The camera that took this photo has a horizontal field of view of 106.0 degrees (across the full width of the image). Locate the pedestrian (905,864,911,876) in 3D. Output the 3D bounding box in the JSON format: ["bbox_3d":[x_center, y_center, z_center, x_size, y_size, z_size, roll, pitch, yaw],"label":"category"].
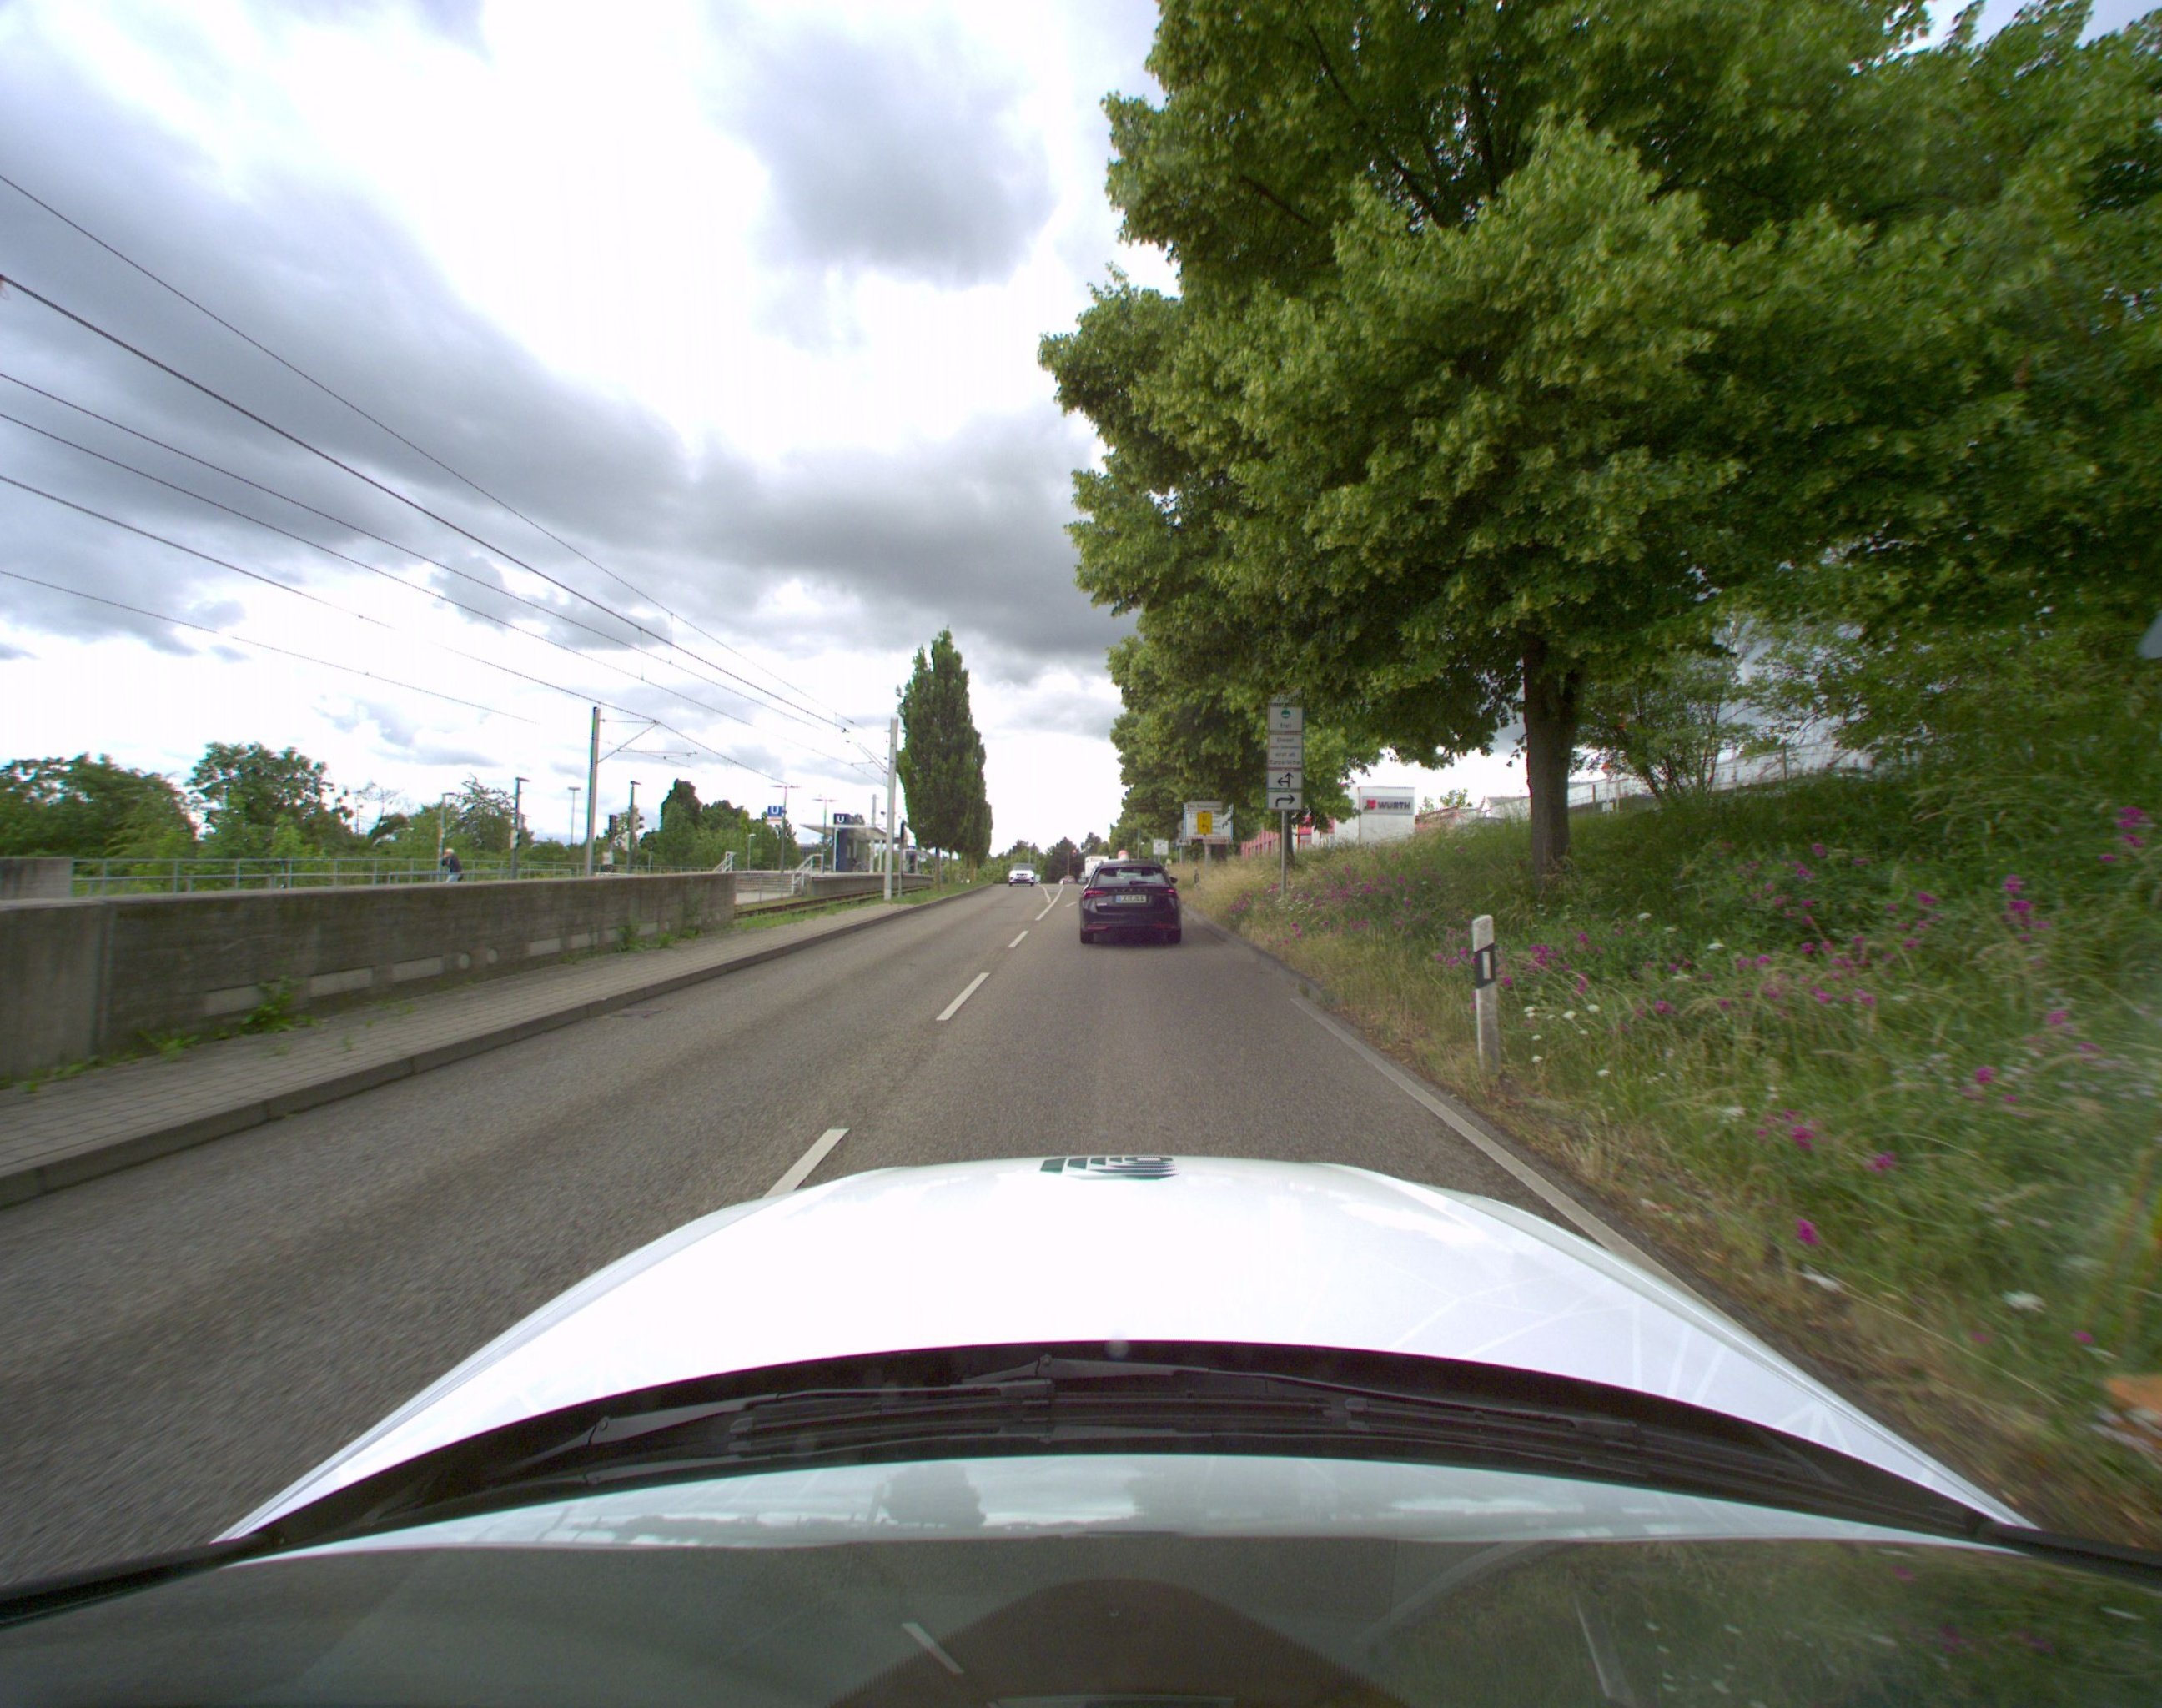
[{"bbox_3d":[-19.590,1.811,92.188,0.610,1.269,0.658,0,-1,-9],"label":"pedestrian"}]

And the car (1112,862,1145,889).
[{"bbox_3d":[2.655,1.203,46.129,1.713,1.457,3.696,0,-1,1],"label":"car"}]

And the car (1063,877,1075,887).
[{"bbox_3d":[-1.964,4.510,129.388,1.718,1.422,4.349,0,-3,-4],"label":"car"}]

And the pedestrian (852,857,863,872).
[{"bbox_3d":[-15.686,0.732,57.156,0.606,1.079,0.469,0,-1,-5],"label":"pedestrian"}]

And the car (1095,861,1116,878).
[{"bbox_3d":[2.181,1.425,73.657,1.693,1.486,3.997,0,-1,-2],"label":"car"}]

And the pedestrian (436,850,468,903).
[{"bbox_3d":[-19.895,0.707,25.775,0.505,1.625,0.646,0,-1,1],"label":"pedestrian"}]

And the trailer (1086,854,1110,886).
[{"bbox_3d":[2.233,2.200,107.755,2.560,3.707,7.751,0,-5,-3],"label":"trailer"}]

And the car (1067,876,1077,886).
[{"bbox_3d":[-1.334,3.936,120.305,1.521,1.354,3.488,0,-1,-1],"label":"car"}]

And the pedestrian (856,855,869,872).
[{"bbox_3d":[-15.104,0.657,56.256,0.760,1.199,0.664,0,-2,-5],"label":"pedestrian"}]

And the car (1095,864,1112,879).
[{"bbox_3d":[2.295,1.773,83.678,1.666,1.448,4.487,0,-2,0],"label":"car"}]

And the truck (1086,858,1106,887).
[{"bbox_3d":[2.050,2.548,111.591,2.564,3.707,4.100,0,-5,-2],"label":"truck"}]

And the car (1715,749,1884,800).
[{"bbox_3d":[23.444,-2.586,26.689,3.908,1.482,1.757,1,-1,4],"label":"car"}]

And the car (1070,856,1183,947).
[{"bbox_3d":[0.964,0.783,15.405,1.826,1.432,4.285,-1,0,6],"label":"car"}]

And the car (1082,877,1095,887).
[{"bbox_3d":[1.136,4.231,123.306,1.806,1.354,4.116,0,-1,-1],"label":"car"}]

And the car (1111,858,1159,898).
[{"bbox_3d":[2.052,0.892,31.872,1.618,1.457,3.687,-1,-1,-1],"label":"car"}]

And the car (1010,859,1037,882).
[{"bbox_3d":[-4.024,1.142,57.151,1.711,1.521,3.742,-1,-1,-1],"label":"car"}]
